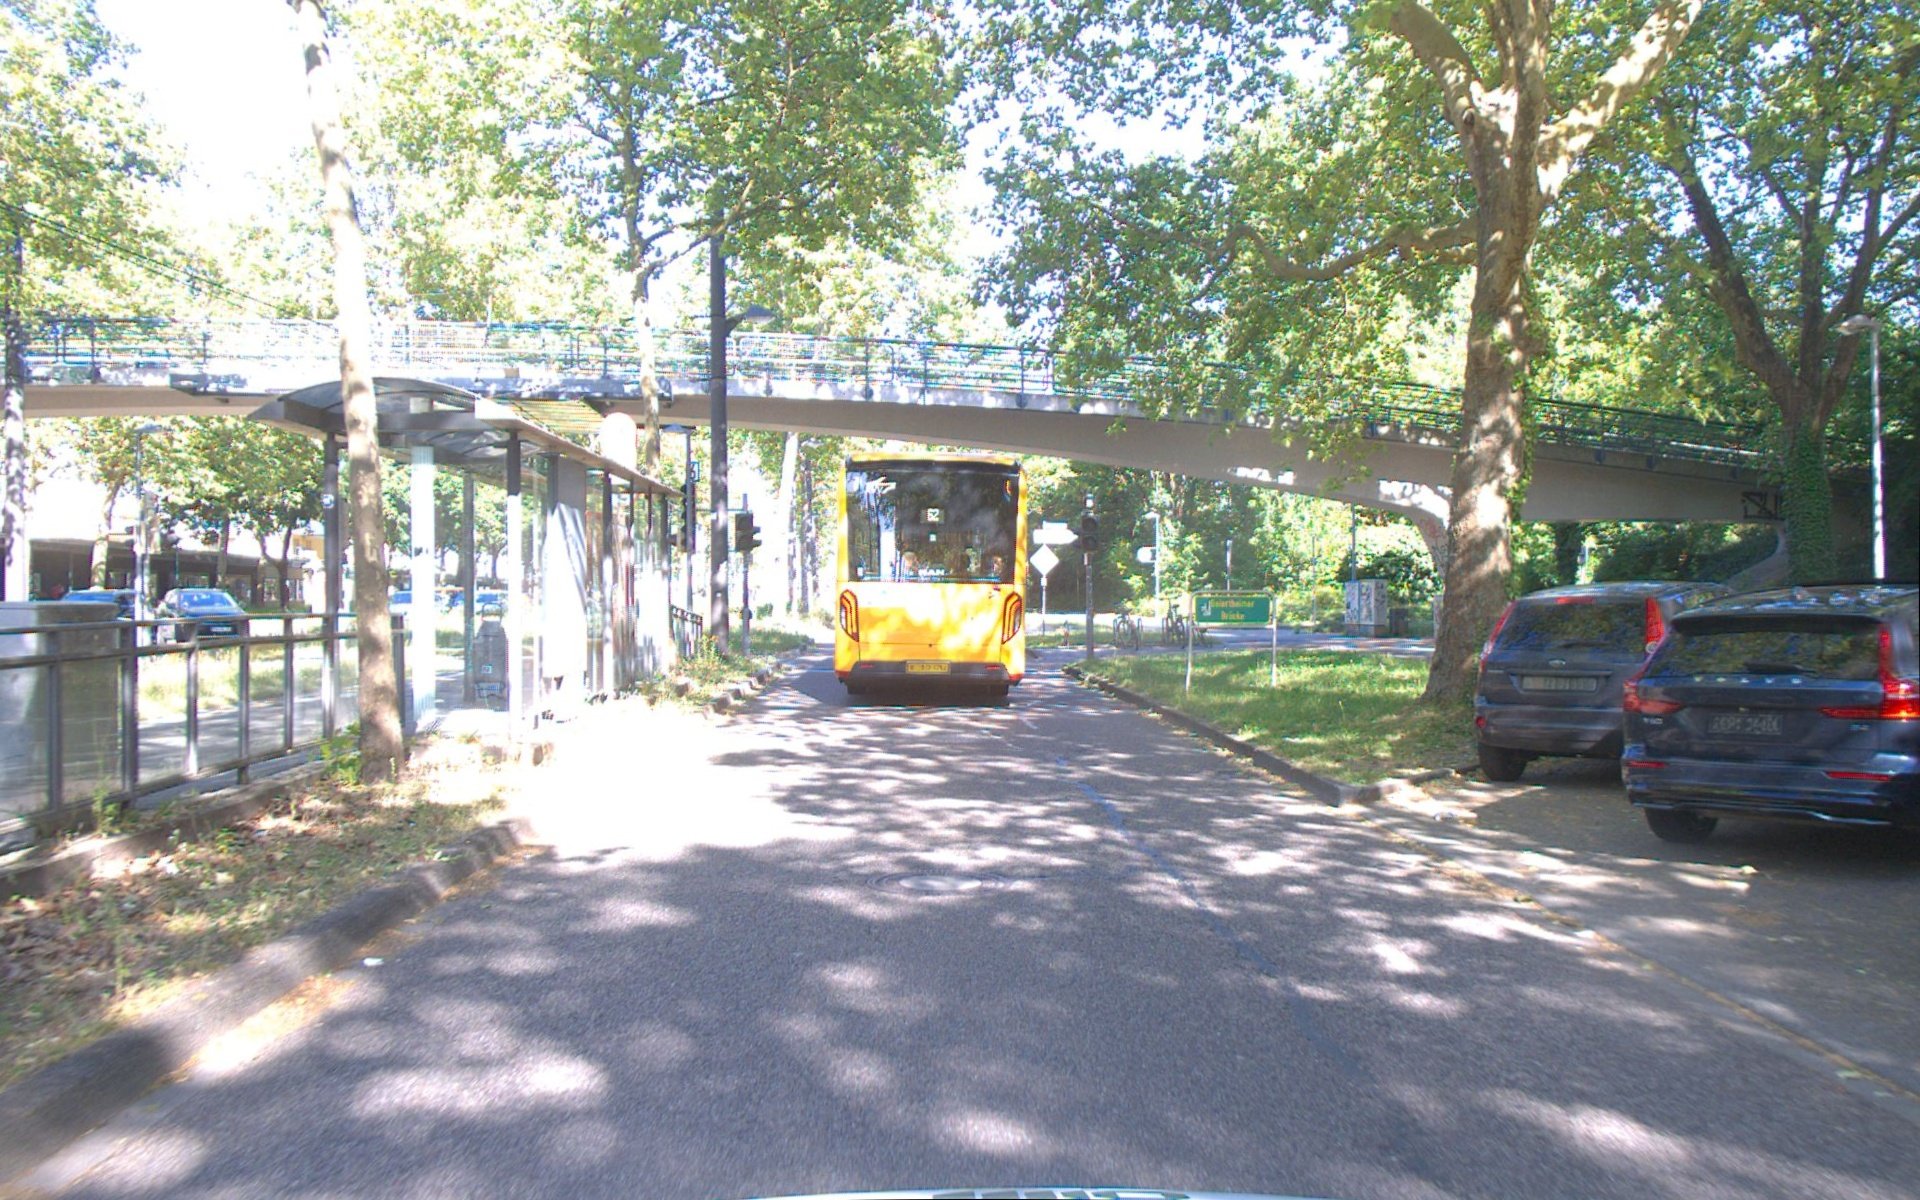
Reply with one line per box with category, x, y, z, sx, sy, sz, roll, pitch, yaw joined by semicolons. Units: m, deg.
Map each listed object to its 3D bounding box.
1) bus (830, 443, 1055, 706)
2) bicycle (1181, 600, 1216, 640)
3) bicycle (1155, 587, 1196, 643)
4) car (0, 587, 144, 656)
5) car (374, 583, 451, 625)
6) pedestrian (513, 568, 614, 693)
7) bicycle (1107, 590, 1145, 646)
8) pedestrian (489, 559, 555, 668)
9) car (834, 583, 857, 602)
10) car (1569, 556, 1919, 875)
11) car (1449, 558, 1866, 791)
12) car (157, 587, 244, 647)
bus;-0.513;-0.375;27.113;2.842;3.324;12.211;0;0;-3
bicycle;5.603;0.461;38.910;0.495;0.867;1.473;-3;1;-3
bicycle;5.025;0.332;38.712;0.578;1.203;1.799;-3;1;-3
car;-22.045;0.488;41.089;1.759;1.593;4.283;0;1;-6
car;-21.883;0.138;66.237;1.758;1.608;4.286;0;1;-2
pedestrian;-4.124;0.306;17.260;0.837;1.264;0.850;1;0;0
bicycle;3.879;0.411;38.719;0.578;1.203;1.799;-3;1;-3
pedestrian;-5.900;0.180;22.292;0.710;1.442;0.681;1;0;-3
car;-10.878;-0.722;157.266;1.946;1.672;4.133;2;1;-1
car;5.572;0.512;10.022;4.222;1.487;1.772;-3;1;-43
car;5.673;0.488;13.207;1.769;1.487;3.975;-2;1;43
car;-21.366;0.430;46.446;1.776;1.593;4.243;-1;1;-31
